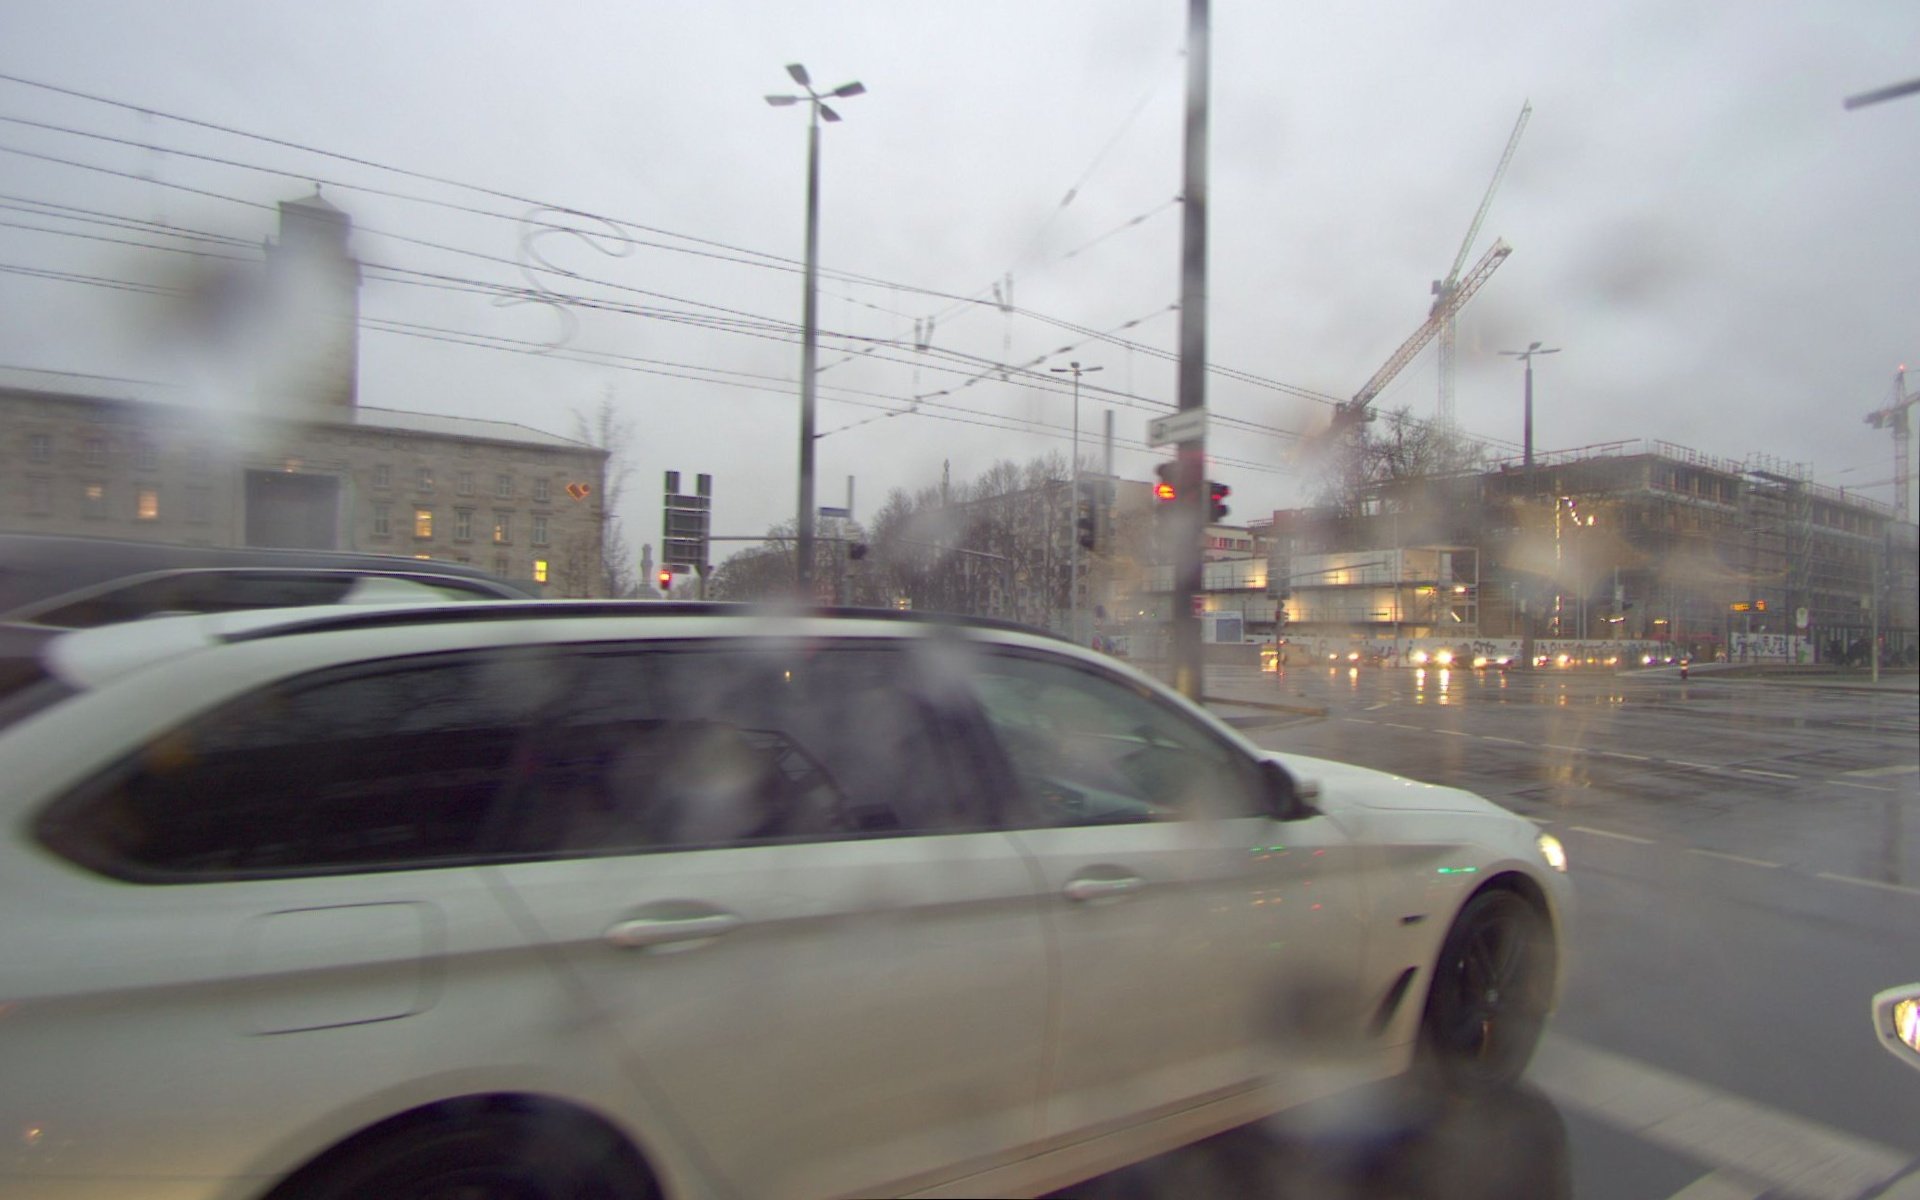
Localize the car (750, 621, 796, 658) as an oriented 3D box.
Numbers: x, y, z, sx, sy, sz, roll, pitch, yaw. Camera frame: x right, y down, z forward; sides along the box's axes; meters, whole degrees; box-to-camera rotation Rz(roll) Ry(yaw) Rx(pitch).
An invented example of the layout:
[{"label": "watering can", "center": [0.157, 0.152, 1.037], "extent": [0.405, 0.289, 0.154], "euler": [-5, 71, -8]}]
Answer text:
[{"label": "car", "center": [-12.965, 2.677, 69.494], "extent": [2.032, 2.454, 4.734], "euler": [2, -2, -24]}]

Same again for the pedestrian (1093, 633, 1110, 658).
[{"label": "pedestrian", "center": [11.141, 3.592, 79.053], "extent": [0.810, 1.959, 0.916], "euler": [2, 0, -37]}]

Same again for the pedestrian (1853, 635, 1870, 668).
[{"label": "pedestrian", "center": [56.067, 3.217, 62.495], "extent": [0.659, 1.994, 0.566], "euler": [2, 1, -36]}]

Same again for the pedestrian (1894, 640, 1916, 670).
[{"label": "pedestrian", "center": [66.428, 3.870, 70.608], "extent": [1.085, 2.040, 0.934], "euler": [2, 0, -40]}]

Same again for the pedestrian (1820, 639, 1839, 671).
[{"label": "pedestrian", "center": [53.003, 3.371, 61.248], "extent": [0.547, 1.905, 0.695], "euler": [2, 0, -30]}]

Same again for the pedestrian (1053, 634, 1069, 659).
[{"label": "pedestrian", "center": [8.140, 3.735, 81.172], "extent": [0.810, 1.959, 0.916], "euler": [2, 0, -37]}]

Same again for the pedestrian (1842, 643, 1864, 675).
[{"label": "pedestrian", "center": [55.253, 3.668, 62.157], "extent": [0.754, 1.922, 0.761], "euler": [4, -1, -30]}]

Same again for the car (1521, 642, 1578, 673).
[{"label": "car", "center": [38.757, 3.774, 65.999], "extent": [3.964, 1.852, 1.852], "euler": [3, -1, -37]}]

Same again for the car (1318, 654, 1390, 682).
[{"label": "car", "center": [23.291, 4.021, 59.420], "extent": [3.954, 1.550, 1.984], "euler": [3, -2, -31]}]

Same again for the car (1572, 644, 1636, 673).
[{"label": "car", "center": [44.353, 4.046, 69.167], "extent": [3.948, 1.814, 1.987], "euler": [3, -1, -26]}]

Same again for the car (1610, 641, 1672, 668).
[{"label": "car", "center": [48.950, 3.915, 72.195], "extent": [3.948, 1.814, 1.987], "euler": [3, -1, -26]}]

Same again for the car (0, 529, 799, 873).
[{"label": "car", "center": [-3.397, 0.558, 6.433], "extent": [4.238, 1.604, 1.958], "euler": [3, -2, -30]}]

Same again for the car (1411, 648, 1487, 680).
[{"label": "car", "center": [27.163, 3.532, 55.769], "extent": [3.954, 1.678, 1.984], "euler": [3, -2, -31]}]

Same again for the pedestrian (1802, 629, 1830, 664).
[{"label": "pedestrian", "center": [51.896, 2.827, 60.882], "extent": [1.080, 2.040, 0.938], "euler": [2, 0, -28]}]

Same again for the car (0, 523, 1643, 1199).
[{"label": "car", "center": [-0.154, 0.742, 3.032], "extent": [4.508, 1.506, 2.007], "euler": [2, -2, -31]}]

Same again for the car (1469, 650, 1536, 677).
[{"label": "car", "center": [33.057, 3.863, 61.204], "extent": [4.578, 1.550, 2.058], "euler": [3, -3, -40]}]
